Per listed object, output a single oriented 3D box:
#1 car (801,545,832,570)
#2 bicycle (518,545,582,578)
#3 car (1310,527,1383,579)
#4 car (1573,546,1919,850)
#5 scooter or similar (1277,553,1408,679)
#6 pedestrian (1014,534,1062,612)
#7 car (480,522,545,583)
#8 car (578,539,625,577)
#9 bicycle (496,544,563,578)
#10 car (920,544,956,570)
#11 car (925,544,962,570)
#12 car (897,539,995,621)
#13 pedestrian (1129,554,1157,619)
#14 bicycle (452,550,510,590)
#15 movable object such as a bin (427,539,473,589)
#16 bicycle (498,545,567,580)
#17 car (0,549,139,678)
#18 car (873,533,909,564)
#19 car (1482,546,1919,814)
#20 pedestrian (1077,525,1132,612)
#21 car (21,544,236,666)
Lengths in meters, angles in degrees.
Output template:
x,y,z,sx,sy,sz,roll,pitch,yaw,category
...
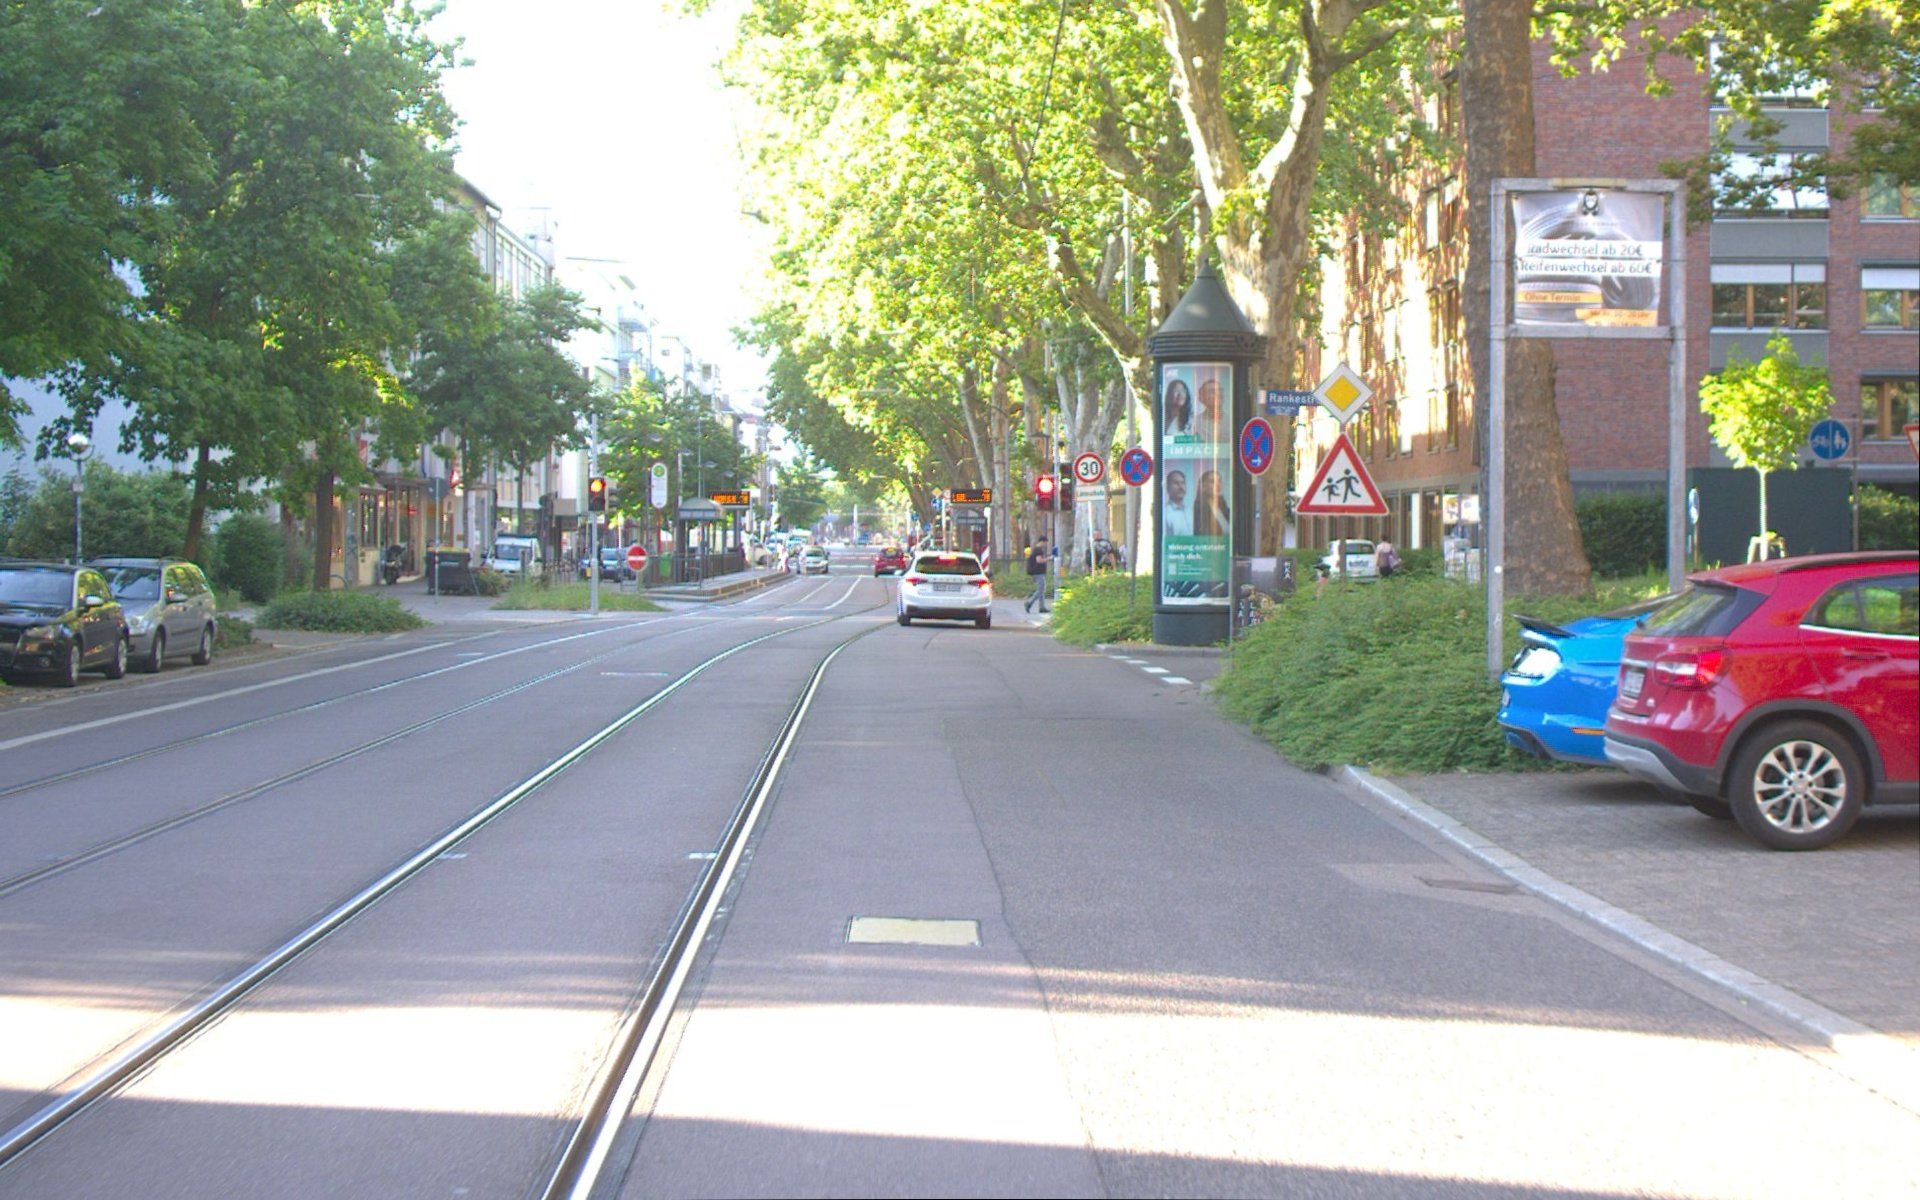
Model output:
x,y,z,sx,sy,sz,roll,pitch,yaw,category
-8.202,-2.419,196.104,1.693,1.414,4.000,0,1,-1,car
-15.095,-1.419,126.586,2.253,1.070,0.636,3,1,0,bicycle
11.231,-1.381,100.052,1.600,1.490,3.417,0,1,-3,car
5.655,0.482,18.434,4.403,1.537,1.952,0,1,1,car
3.817,0.156,34.338,1.208,1.235,0.569,-1,0,-3,scooter or similar
1.815,-0.642,80.190,0.994,1.805,0.864,0,1,-6,pedestrian
-14.526,-1.553,111.773,1.688,1.933,4.000,0,1,-1,car
-15.088,-1.788,144.951,1.593,1.543,4.000,2,1,-1,car
-15.154,-1.370,121.042,2.253,1.070,0.636,3,1,0,bicycle
-1.255,-2.496,198.181,1.993,1.448,4.000,0,1,-1,car
-0.944,-2.420,193.099,1.993,1.448,4.000,0,1,-1,car
-0.299,-0.409,65.699,1.788,1.508,4.000,0,1,-1,car
4.699,-0.354,88.292,0.652,1.663,0.738,0,1,-2,pedestrian
-14.000,-0.884,100.534,1.533,1.071,0.885,3,1,-2,bicycle
-14.597,-1.026,98.450,1.169,1.344,0.783,4,1,-5,movable object such as a bin
-14.843,-1.304,119.315,2.253,1.070,0.636,3,1,0,bicycle
-11.127,0.126,41.340,1.658,1.440,3.950,1,1,-2,car
-3.429,-2.561,170.520,1.788,1.508,4.000,0,1,-1,car
5.417,0.447,20.715,4.404,1.537,1.817,0,1,6,car
3.217,-0.709,76.675,0.982,1.857,1.016,-4,1,-6,pedestrian
-11.254,0.022,46.833,1.700,1.545,4.536,1,1,2,car
